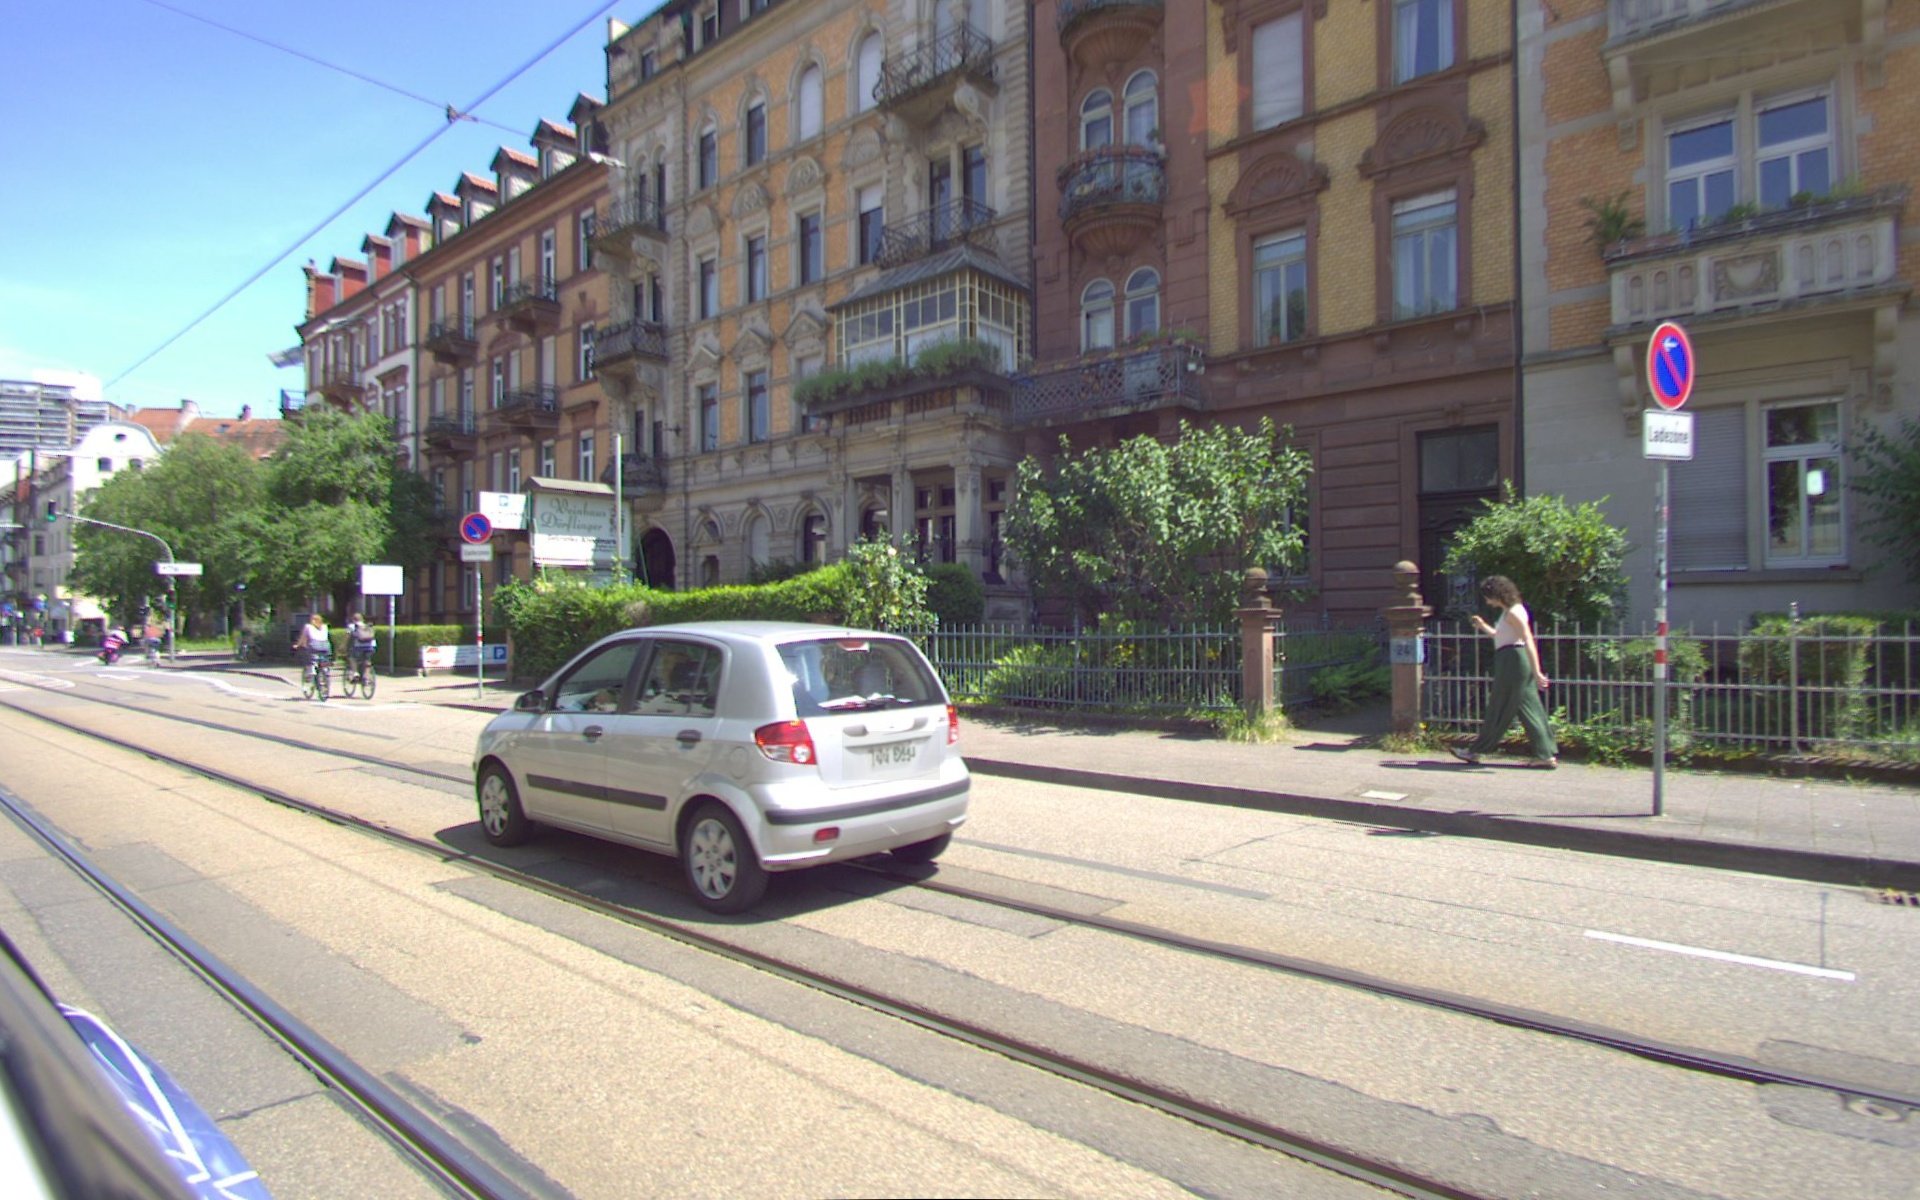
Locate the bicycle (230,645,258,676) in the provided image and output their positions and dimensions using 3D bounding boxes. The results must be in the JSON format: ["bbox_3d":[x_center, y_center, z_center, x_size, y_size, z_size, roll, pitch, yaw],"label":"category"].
[{"bbox_3d":[-28.373,2.393,40.088,1.716,1.178,0.566,-3,-4,44],"label":"bicycle"}]

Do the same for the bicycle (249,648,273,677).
[{"bbox_3d":[-26.731,2.379,38.694,1.565,1.064,0.454,-3,-4,44],"label":"bicycle"}]

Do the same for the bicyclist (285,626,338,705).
[{"bbox_3d":[-13.041,1.313,20.342,0.951,1.556,0.586,-3,-5,40],"label":"bicyclist"}]

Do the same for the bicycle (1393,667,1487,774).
[{"bbox_3d":[5.182,1.258,10.895,0.495,1.051,1.494,-3,-4,42],"label":"bicycle"}]

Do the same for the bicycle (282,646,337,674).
[{"bbox_3d":[-24.077,2.203,37.474,0.495,1.004,1.628,-3,-4,42],"label":"bicycle"}]

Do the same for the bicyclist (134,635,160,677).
[{"bbox_3d":[-30.246,2.085,37.638,0.891,1.527,0.556,-3,-4,41],"label":"bicyclist"}]

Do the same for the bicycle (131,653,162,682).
[{"bbox_3d":[-30.228,2.506,37.604,1.828,1.046,0.562,-3,-4,41],"label":"bicycle"}]

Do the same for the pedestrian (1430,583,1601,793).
[{"bbox_3d":[4.967,0.739,9.057,1.138,1.736,0.842,-3,-1,41],"label":"pedestrian"}]

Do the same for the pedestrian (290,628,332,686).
[{"bbox_3d":[-19.497,1.703,30.394,0.861,1.713,1.014,2,-4,-43],"label":"pedestrian"}]

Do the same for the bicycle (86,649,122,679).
[{"bbox_3d":[-37.441,2.770,44.236,2.549,1.281,0.799,-3,-4,41],"label":"bicycle"}]

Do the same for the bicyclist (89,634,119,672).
[{"bbox_3d":[-37.444,2.307,44.261,0.980,1.642,0.799,-3,-4,41],"label":"bicyclist"}]

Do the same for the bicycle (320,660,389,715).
[{"bbox_3d":[-12.621,1.792,21.072,1.874,1.086,0.622,-3,-5,40],"label":"bicycle"}]

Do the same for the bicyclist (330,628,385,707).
[{"bbox_3d":[-12.508,1.401,20.997,1.027,1.597,0.627,-3,-5,40],"label":"bicyclist"}]

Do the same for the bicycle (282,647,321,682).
[{"bbox_3d":[-21.535,2.093,33.081,1.931,1.102,0.631,-3,-2,44],"label":"bicycle"}]

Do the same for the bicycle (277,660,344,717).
[{"bbox_3d":[-13.057,1.755,20.323,1.889,1.086,0.575,-3,-5,40],"label":"bicycle"}]

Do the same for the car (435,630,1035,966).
[{"bbox_3d":[-1.621,0.972,6.405,3.998,1.461,1.667,-3,-4,41],"label":"car"}]

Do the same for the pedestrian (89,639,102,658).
[{"bbox_3d":[-63.958,3.582,74.855,0.519,1.452,0.531,-2,-4,31],"label":"pedestrian"}]

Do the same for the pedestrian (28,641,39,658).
[{"bbox_3d":[-80.577,4.329,88.027,0.519,1.452,0.531,-2,-4,31],"label":"pedestrian"}]
